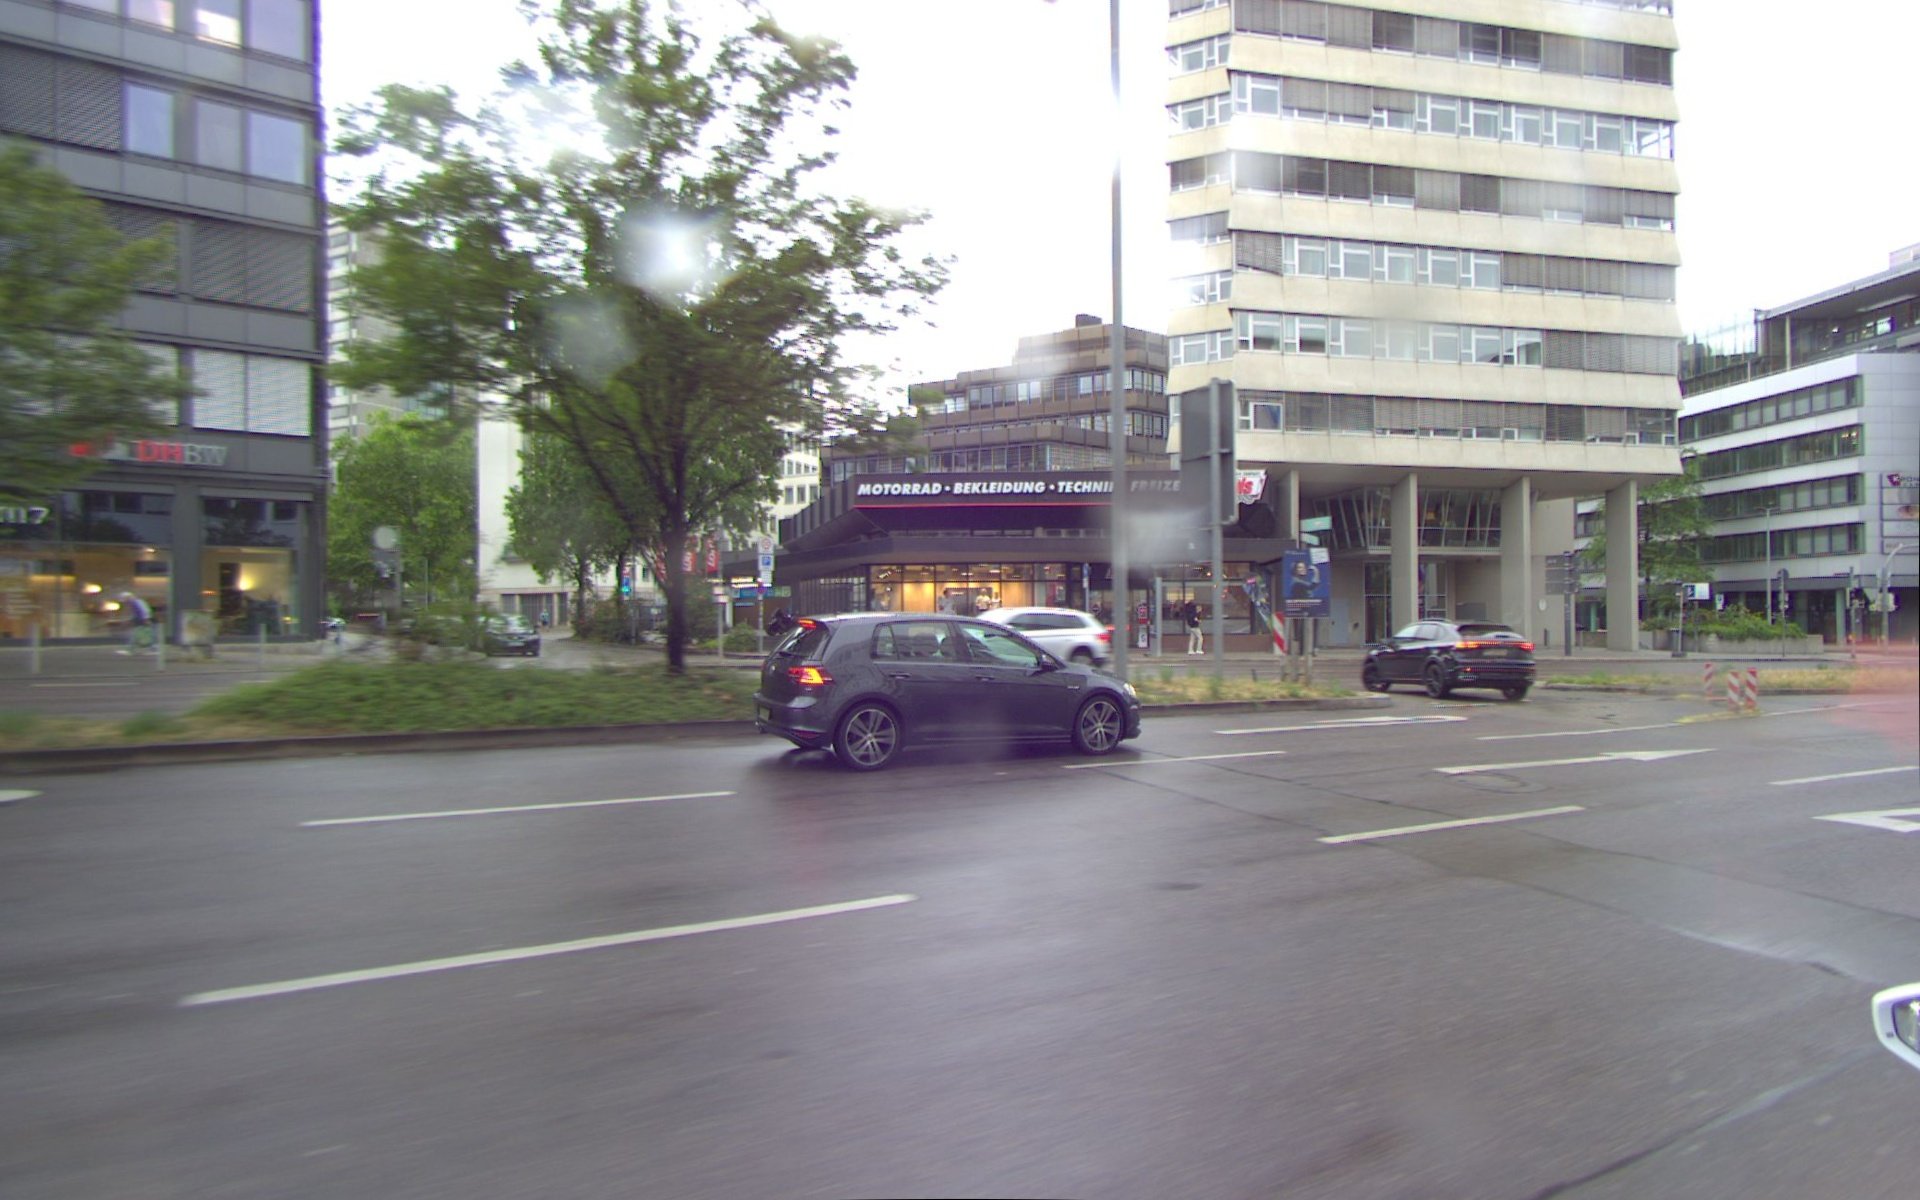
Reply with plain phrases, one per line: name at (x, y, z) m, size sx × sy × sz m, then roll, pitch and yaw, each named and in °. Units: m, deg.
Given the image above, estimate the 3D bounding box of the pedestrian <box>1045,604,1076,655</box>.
pedestrian at (3.747, 1.089, 37.431) m, size 0.908 × 1.857 × 0.818 m, roll 1°, pitch -1°, yaw -12°

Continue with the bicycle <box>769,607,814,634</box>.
bicycle at (-8.869, 1.080, 52.874) m, size 2.182 × 1.345 × 0.913 m, roll 2°, pitch 0°, yaw -31°

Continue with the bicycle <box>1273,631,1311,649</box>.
bicycle at (16.130, 1.921, 48.764) m, size 1.742 × 0.823 × 0.454 m, roll 2°, pitch 0°, yaw -11°

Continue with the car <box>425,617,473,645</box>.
car at (-26.405, 1.582, 51.880) m, size 1.827 × 1.305 × 3.964 m, roll 2°, pitch 0°, yaw -33°

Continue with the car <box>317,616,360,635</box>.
car at (-52.803, 2.128, 85.269) m, size 3.936 × 1.472 × 1.803 m, roll 1°, pitch 0°, yaw 37°

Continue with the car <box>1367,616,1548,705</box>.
car at (9.807, 1.114, 20.224) m, size 1.959 × 1.564 × 4.485 m, roll 1°, pitch -1°, yaw 8°

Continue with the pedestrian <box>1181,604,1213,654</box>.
pedestrian at (8.931, 1.082, 37.908) m, size 0.909 × 1.857 × 0.728 m, roll 1°, pitch -1°, yaw -12°

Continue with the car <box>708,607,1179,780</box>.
car at (-0.091, 0.825, 10.473) m, size 4.632 × 1.470 × 1.831 m, roll 1°, pitch -1°, yaw -30°

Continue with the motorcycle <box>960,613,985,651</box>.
motorcycle at (0.519, 1.226, 39.512) m, size 0.788 × 1.392 × 2.894 m, roll 2°, pitch 0°, yaw 4°

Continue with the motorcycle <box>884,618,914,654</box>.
motorcycle at (-2.414, 1.412, 39.877) m, size 0.709 × 1.351 × 2.822 m, roll 2°, pitch 0°, yaw 6°

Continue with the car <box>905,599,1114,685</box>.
car at (1.142, 0.918, 22.669) m, size 4.438 × 1.751 × 1.730 m, roll 1°, pitch 0°, yaw -28°

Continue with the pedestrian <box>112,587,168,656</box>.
pedestrian at (-20.224, 0.521, 24.784) m, size 0.955 × 1.659 × 0.779 m, roll 1°, pitch -1°, yaw -33°

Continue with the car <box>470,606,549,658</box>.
car at (-15.864, 1.102, 35.286) m, size 1.978 × 1.662 × 3.965 m, roll 2°, pitch 0°, yaw -32°

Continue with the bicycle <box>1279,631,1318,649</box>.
bicycle at (16.227, 1.920, 48.181) m, size 1.742 × 0.823 × 0.454 m, roll 2°, pitch 0°, yaw -11°
